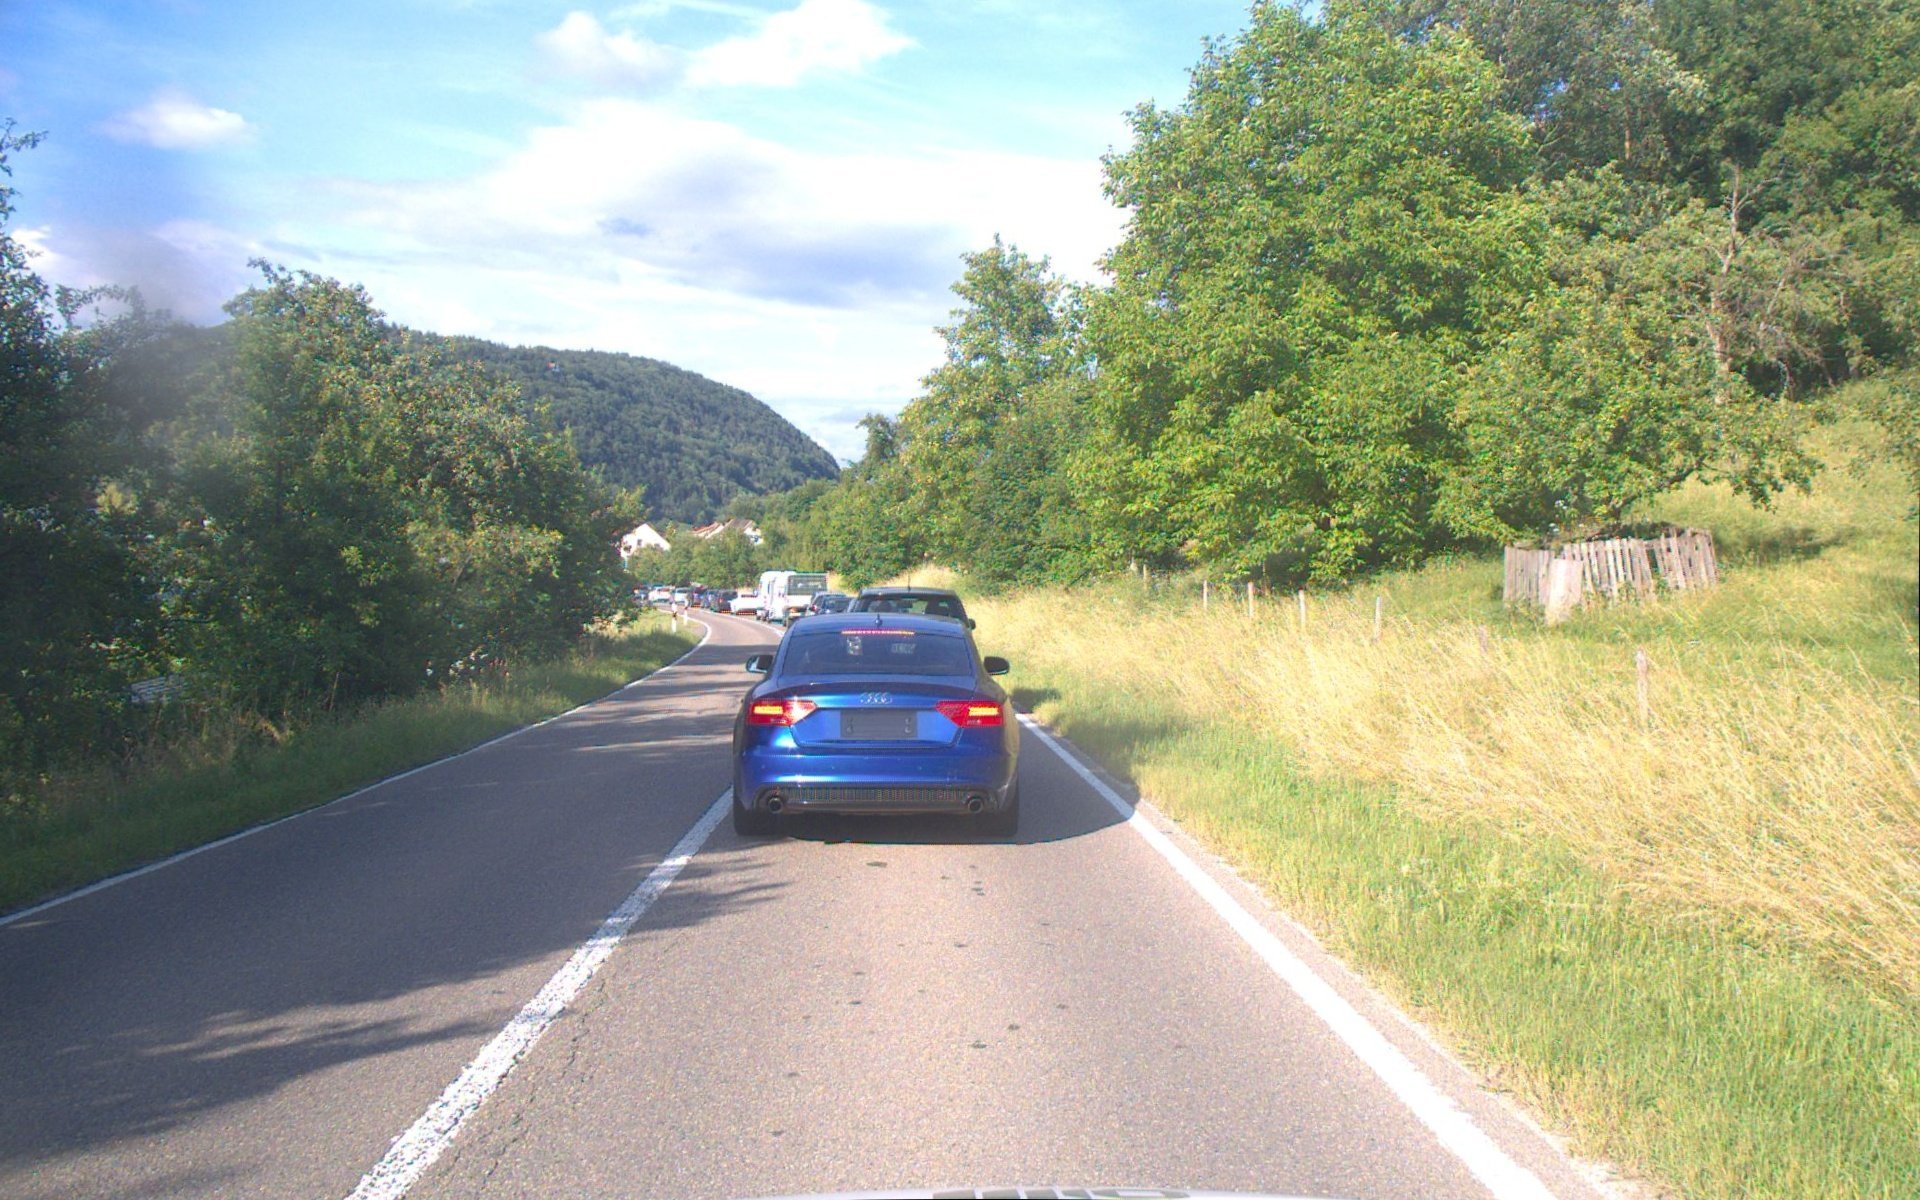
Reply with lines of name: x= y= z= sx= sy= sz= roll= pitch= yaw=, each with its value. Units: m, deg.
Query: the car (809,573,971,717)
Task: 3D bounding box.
car: x=-0.919 y=0.563 z=22.197 sx=1.953 sy=1.732 sz=3.998 roll=1 pitch=0 yaw=-2

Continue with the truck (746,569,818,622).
truck: x=-9.957 y=-0.260 z=91.418 sx=2.814 sy=2.712 sz=10.611 roll=1 pitch=0 yaw=-12

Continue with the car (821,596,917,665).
car: x=-1.948 y=0.640 z=36.176 sx=1.953 sy=1.411 sz=3.998 roll=1 pitch=0 yaw=-2

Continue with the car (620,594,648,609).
car: x=-33.090 y=0.169 z=167.823 sx=1.967 sy=1.508 sz=3.970 roll=1 pitch=0 yaw=-24

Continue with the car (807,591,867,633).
car: x=-4.731 y=0.454 z=63.051 sx=1.957 sy=1.508 sz=3.991 roll=1 pitch=0 yaw=-9

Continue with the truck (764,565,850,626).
truck: x=-7.484 y=-0.205 z=79.466 sx=2.814 sy=2.712 sz=10.360 roll=1 pitch=0 yaw=-12

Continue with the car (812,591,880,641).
car: x=-3.658 y=0.506 z=52.451 sx=1.955 sy=1.508 sz=3.994 roll=1 pitch=0 yaw=-7

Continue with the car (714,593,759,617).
car: x=-14.299 y=0.319 z=105.700 sx=1.966 sy=1.508 sz=3.973 roll=1 pitch=0 yaw=-22

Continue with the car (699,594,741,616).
car: x=-16.433 y=0.334 z=112.992 sx=1.966 sy=1.508 sz=3.973 roll=1 pitch=0 yaw=-22

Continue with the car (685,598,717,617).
car: x=-20.975 y=0.631 z=133.934 sx=1.963 sy=1.508 sz=3.979 roll=1 pitch=0 yaw=-18

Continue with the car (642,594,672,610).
car: x=-28.506 y=0.207 z=155.562 sx=1.967 sy=1.508 sz=3.970 roll=1 pitch=0 yaw=-24

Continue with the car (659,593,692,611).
car: x=-24.673 y=0.211 z=143.361 sx=1.967 sy=1.508 sz=3.970 roll=1 pitch=0 yaw=-24

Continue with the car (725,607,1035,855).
car: x=-0.487 y=0.747 z=11.383 sx=1.757 sy=1.383 sz=3.999 roll=0 pitch=0 yaw=-1
